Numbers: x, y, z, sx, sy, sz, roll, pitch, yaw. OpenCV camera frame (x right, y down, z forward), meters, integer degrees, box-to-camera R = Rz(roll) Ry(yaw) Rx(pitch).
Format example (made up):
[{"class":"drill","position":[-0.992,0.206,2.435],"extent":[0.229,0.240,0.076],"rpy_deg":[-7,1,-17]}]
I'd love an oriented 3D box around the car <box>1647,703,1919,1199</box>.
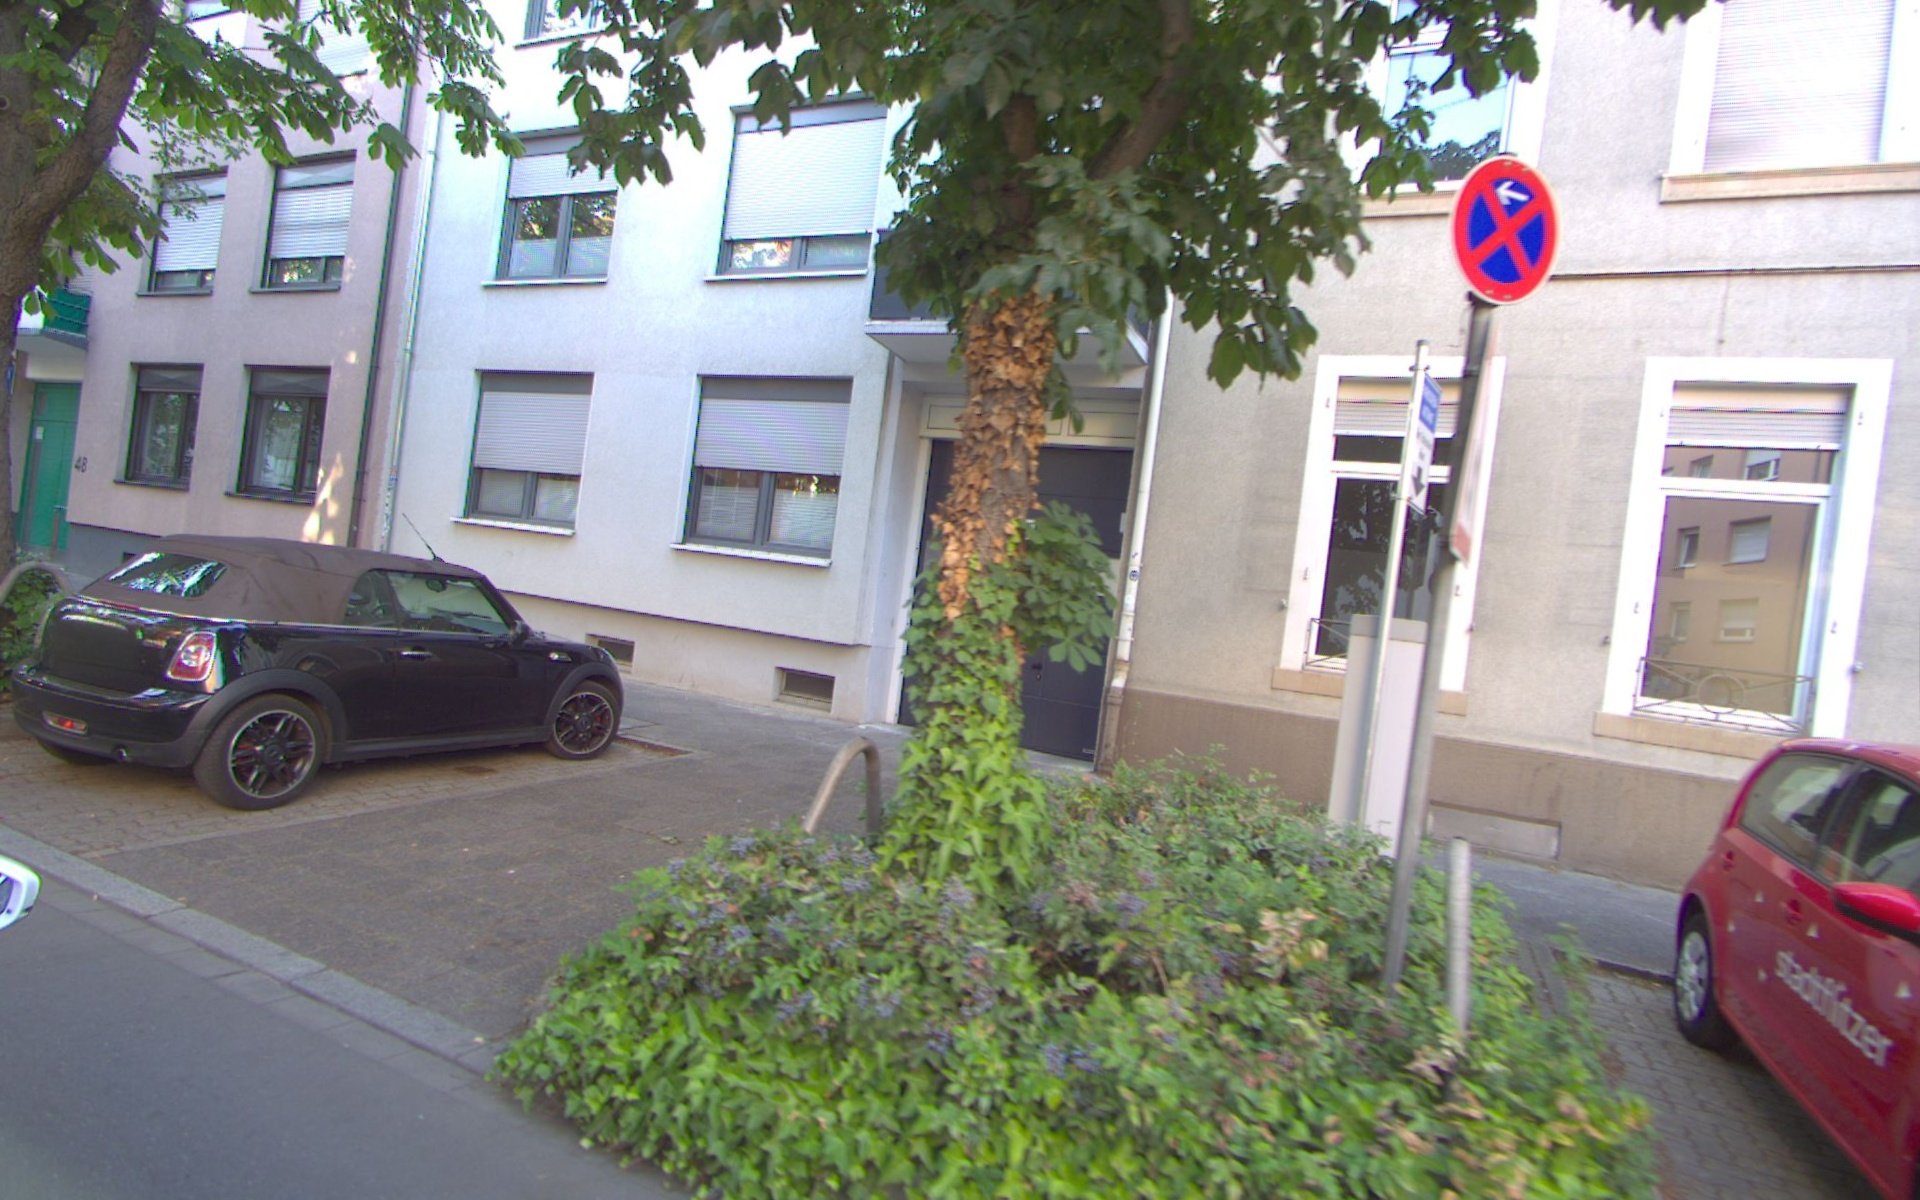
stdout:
[{"class":"car","position":[3.538,1.246,3.082],"extent":[1.537,1.494,3.666],"rpy_deg":[7,0,24]}]

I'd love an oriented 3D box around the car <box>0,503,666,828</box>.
[{"class":"car","position":[-3.882,0.325,6.829],"extent":[1.597,1.446,3.711],"rpy_deg":[7,2,21]}]
